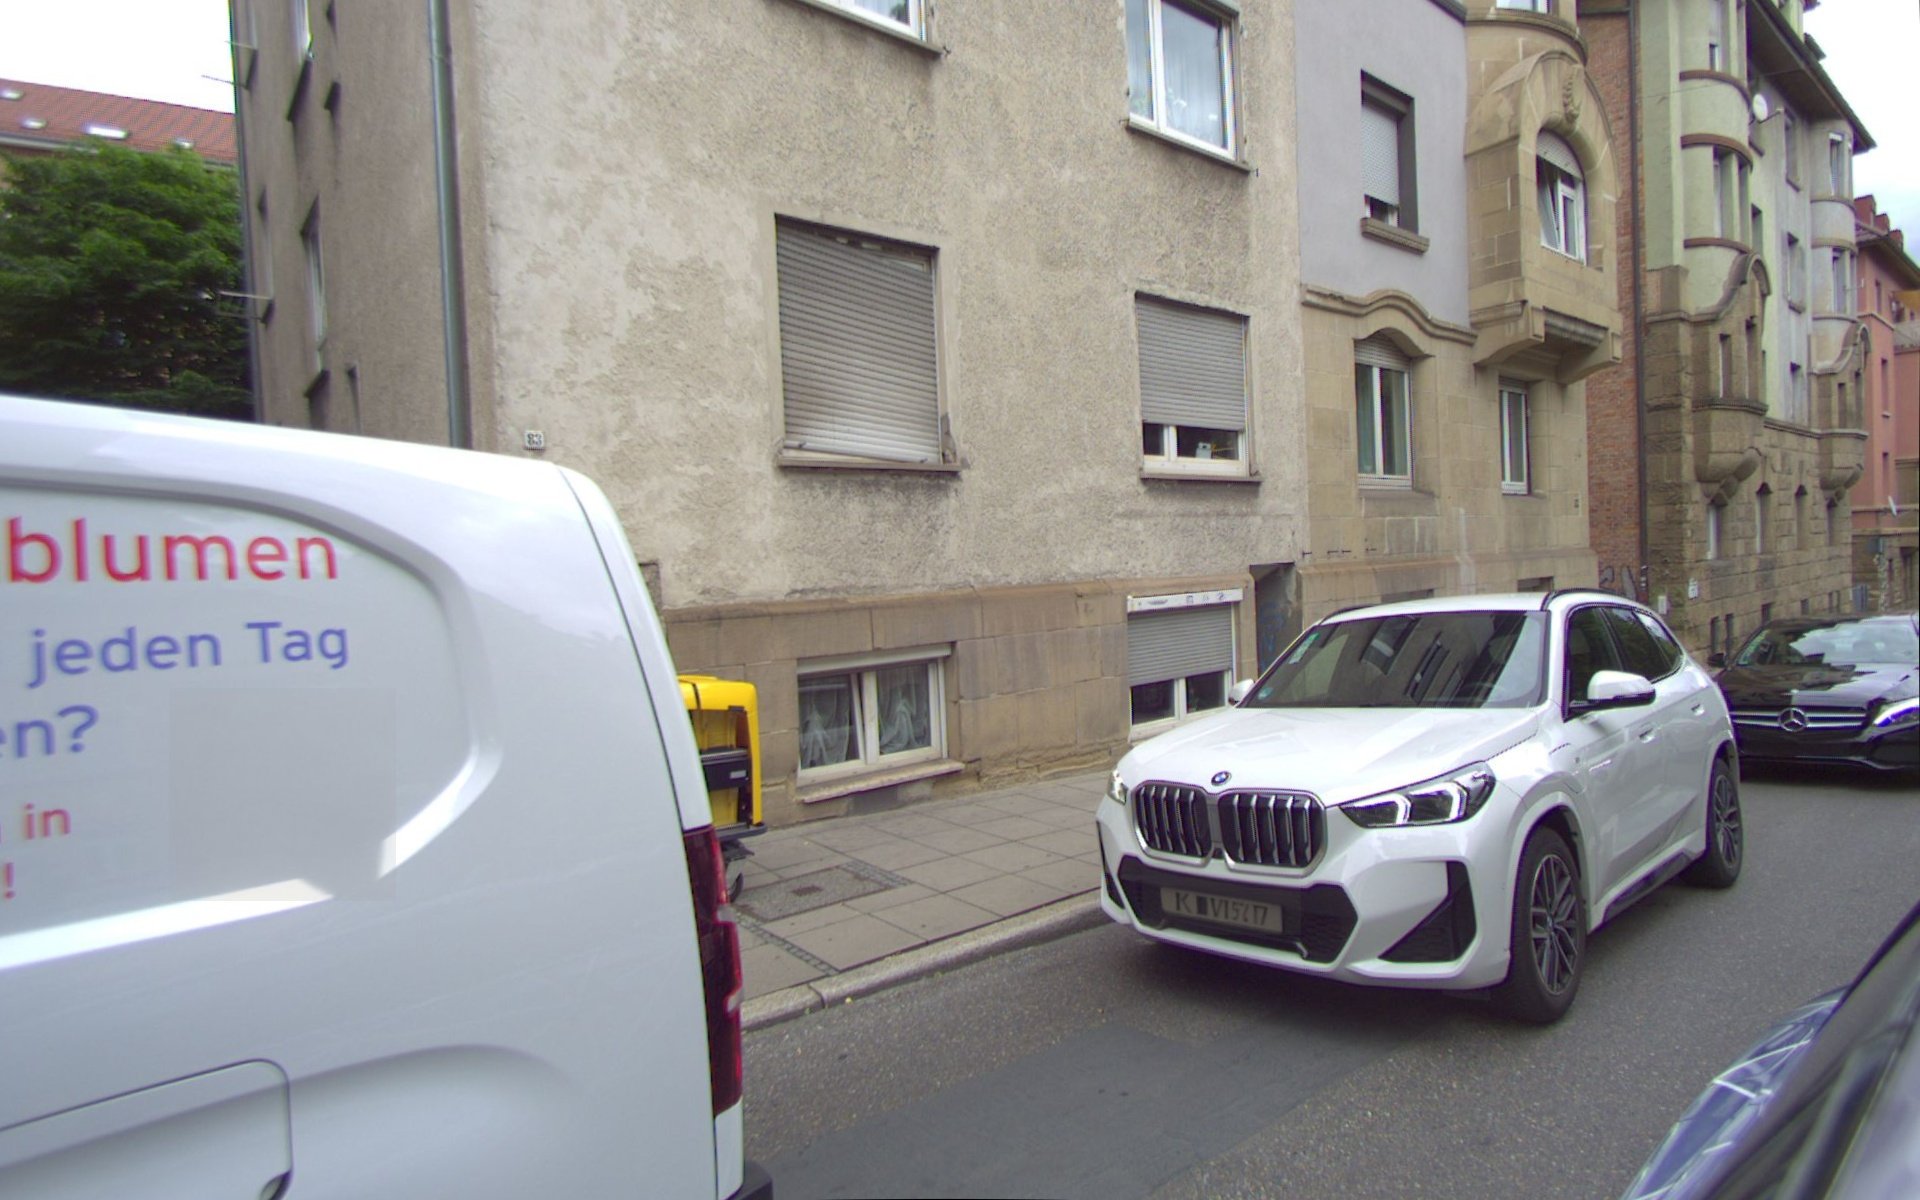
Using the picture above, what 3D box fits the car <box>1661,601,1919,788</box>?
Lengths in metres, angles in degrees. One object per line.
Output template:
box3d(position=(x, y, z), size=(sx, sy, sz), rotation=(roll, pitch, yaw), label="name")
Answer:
box3d(position=(8.435, 0.754, 9.605), size=(4.133, 1.395, 1.882), rotation=(-1, -3, -41), label="car")

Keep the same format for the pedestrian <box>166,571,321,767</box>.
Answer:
box3d(position=(-6.655, 0.609, 9.415), size=(0.804, 1.666, 0.777), rotation=(-1, 5, 30), label="pedestrian")

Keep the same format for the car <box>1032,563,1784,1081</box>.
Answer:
box3d(position=(2.569, 0.715, 5.236), size=(4.276, 1.576, 1.857), rotation=(-1, -4, -42), label="car")

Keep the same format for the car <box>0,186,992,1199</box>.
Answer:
box3d(position=(-2.316, 0.569, 0.939), size=(4.597, 1.798, 1.977), rotation=(-1, -3, -42), label="car")

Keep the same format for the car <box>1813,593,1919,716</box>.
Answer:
box3d(position=(13.552, 0.656, 13.954), size=(4.226, 1.534, 1.935), rotation=(-1, -3, -40), label="car")

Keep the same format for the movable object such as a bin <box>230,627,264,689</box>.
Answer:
box3d(position=(-10.986, 0.886, 15.587), size=(0.405, 0.923, 0.340), rotation=(0, 0, -40), label="movable object such as a bin")

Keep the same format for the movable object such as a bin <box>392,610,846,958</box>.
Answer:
box3d(position=(-1.771, 0.790, 5.399), size=(1.979, 1.391, 1.223), rotation=(-1, 2, -43), label="movable object such as a bin")
